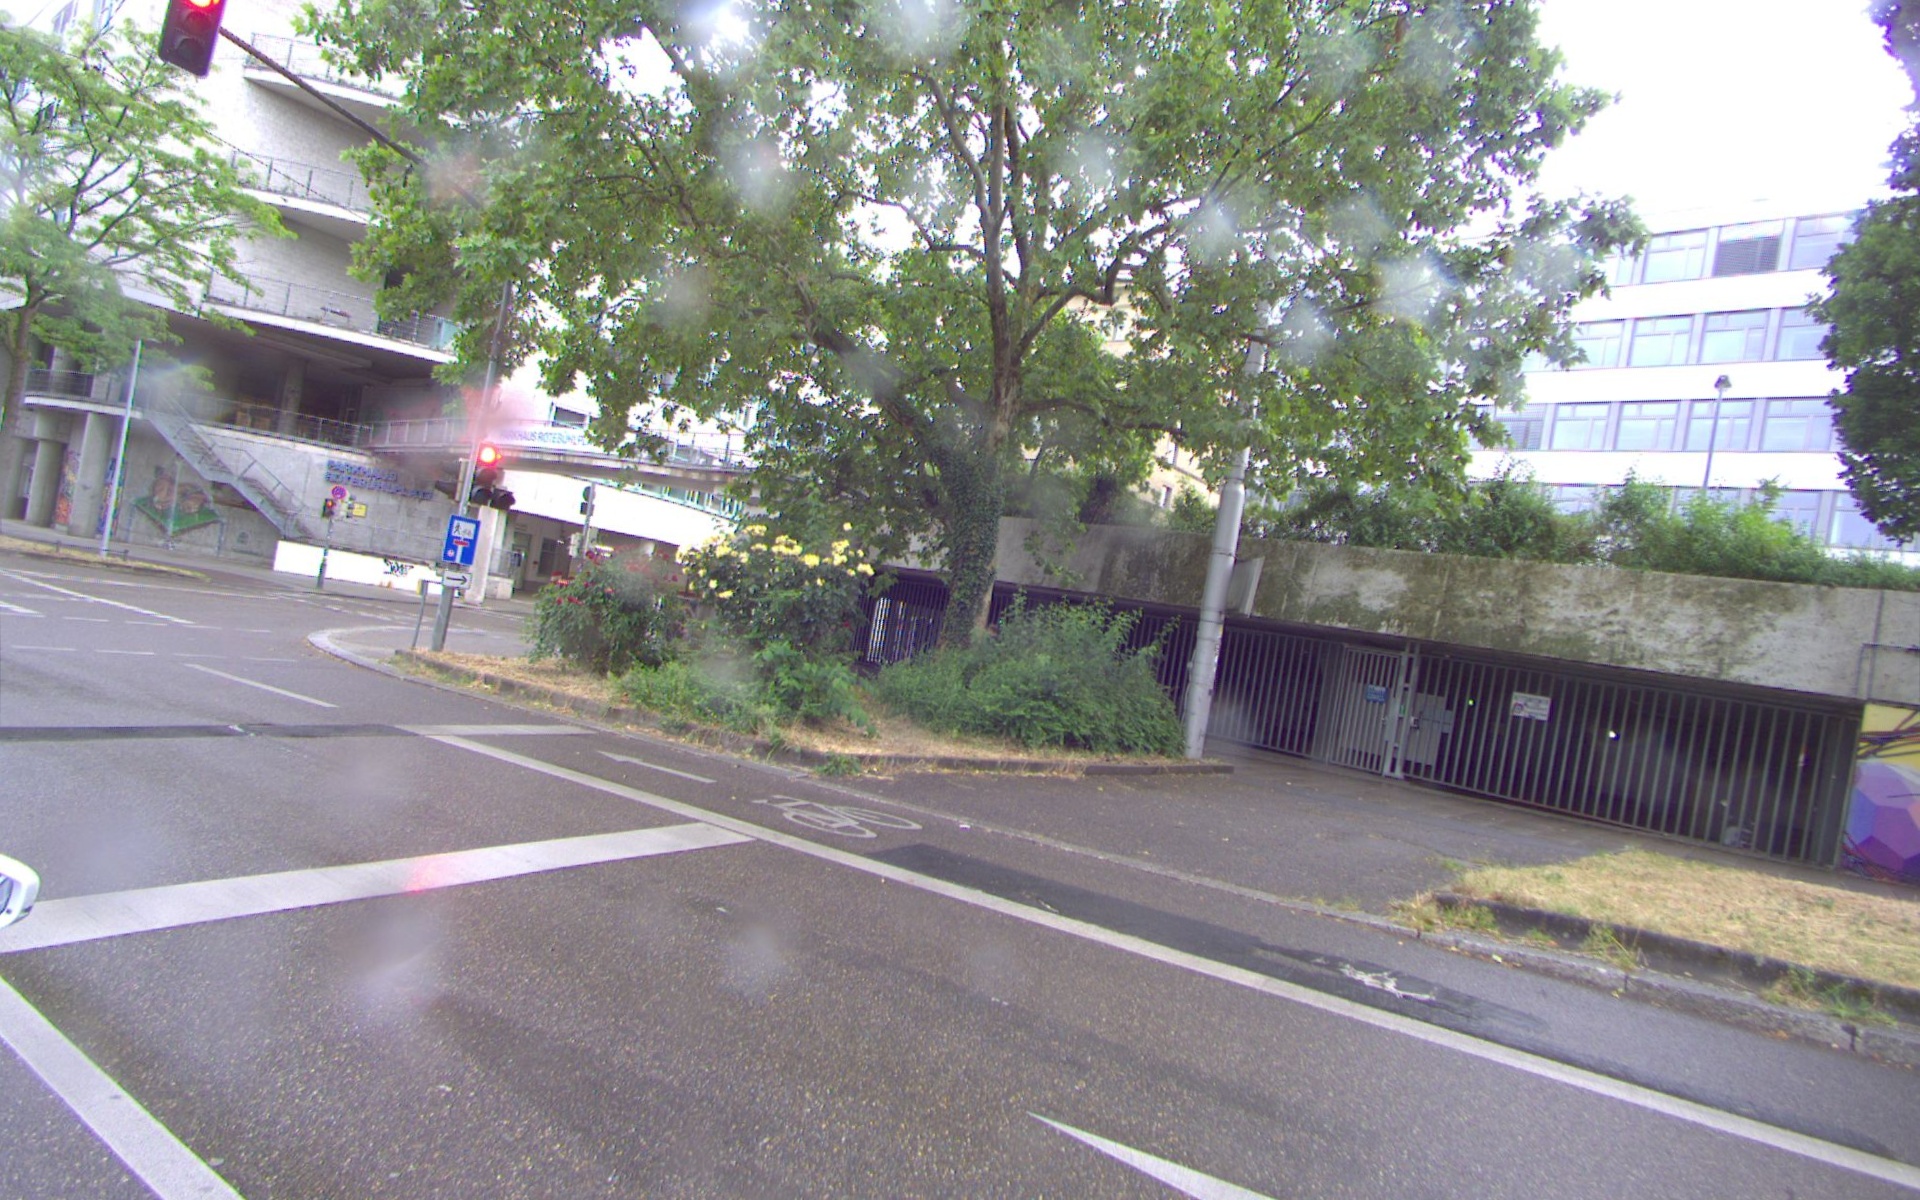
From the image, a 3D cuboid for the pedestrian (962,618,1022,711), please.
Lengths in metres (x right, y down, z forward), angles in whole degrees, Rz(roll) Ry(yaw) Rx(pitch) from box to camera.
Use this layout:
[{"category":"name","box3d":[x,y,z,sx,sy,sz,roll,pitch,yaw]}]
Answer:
[{"category":"pedestrian","box3d":[0.716,1.427,22.265,0.745,1.932,0.847,8,-1,31]}]
